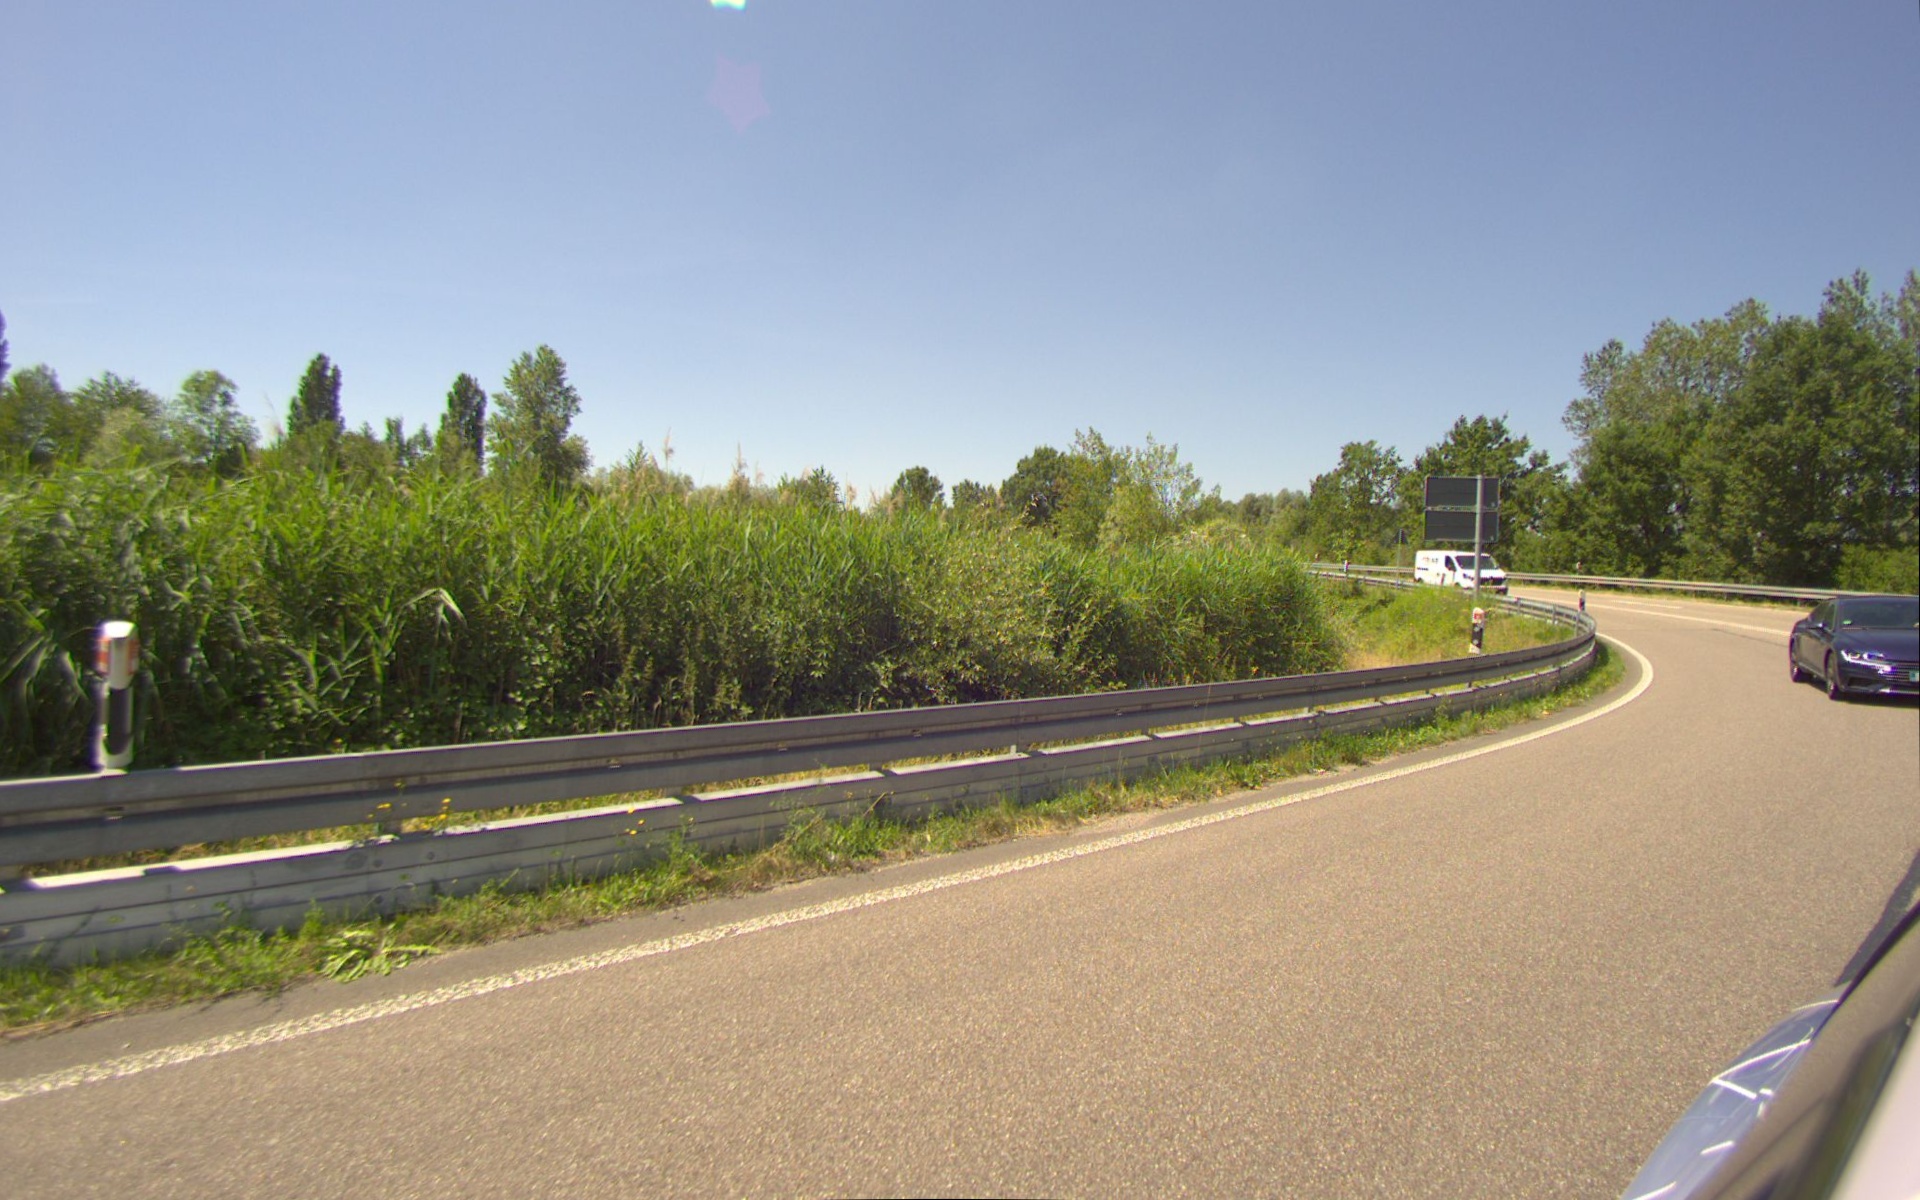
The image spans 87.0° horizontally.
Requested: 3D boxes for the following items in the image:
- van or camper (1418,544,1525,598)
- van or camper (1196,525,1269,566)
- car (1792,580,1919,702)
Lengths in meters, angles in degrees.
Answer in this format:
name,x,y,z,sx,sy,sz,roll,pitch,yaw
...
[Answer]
name,x,y,z,sx,sy,sz,roll,pitch,yaw
van or camper,21.974,-1.309,43.754,1.973,2.055,5.450,-1,4,2
van or camper,18.290,-3.631,68.300,2.032,2.585,6.062,-2,3,-14
car,13.632,0.498,14.688,1.830,1.448,4.482,-1,1,33
